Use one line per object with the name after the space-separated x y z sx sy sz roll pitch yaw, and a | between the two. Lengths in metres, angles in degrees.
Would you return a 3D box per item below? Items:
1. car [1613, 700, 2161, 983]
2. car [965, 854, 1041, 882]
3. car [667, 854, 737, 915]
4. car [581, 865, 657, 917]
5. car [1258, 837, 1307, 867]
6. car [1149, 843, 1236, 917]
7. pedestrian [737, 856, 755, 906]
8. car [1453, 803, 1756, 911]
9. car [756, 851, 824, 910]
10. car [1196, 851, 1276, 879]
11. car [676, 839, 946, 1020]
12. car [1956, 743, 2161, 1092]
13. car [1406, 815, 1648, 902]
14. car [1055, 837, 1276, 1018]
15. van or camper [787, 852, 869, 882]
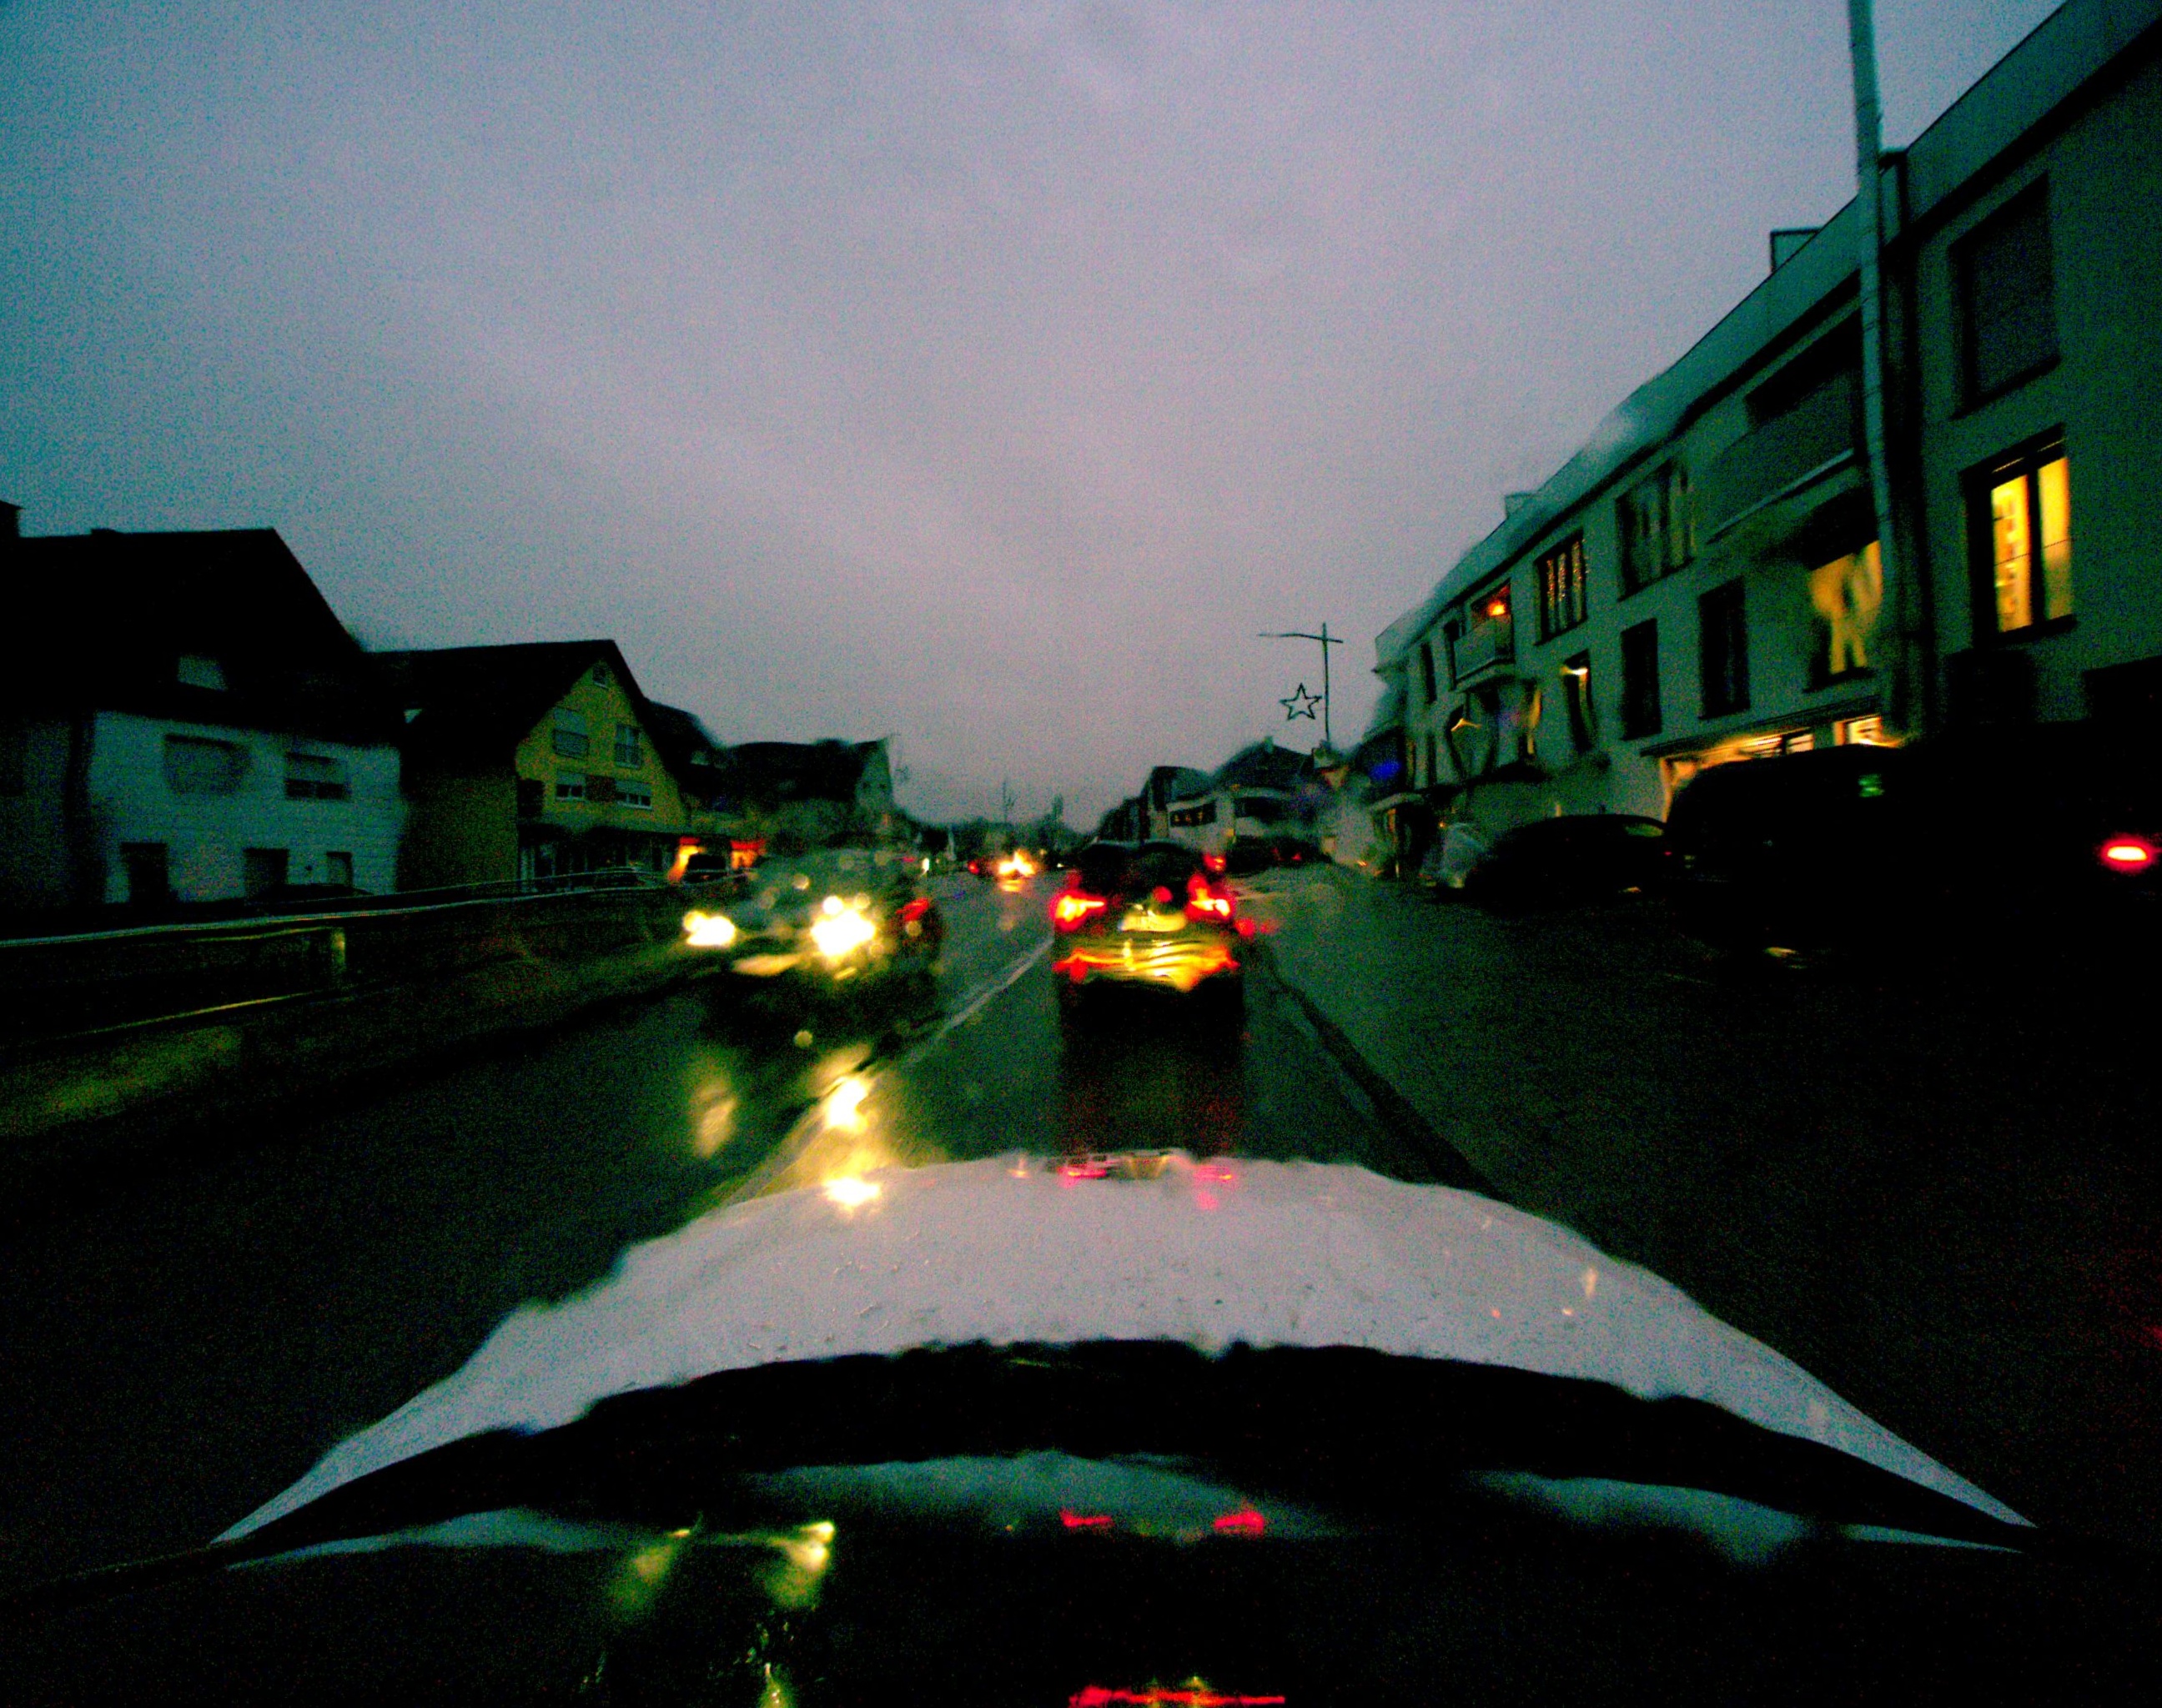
7.986 -0.161 7.608 4.546 1.920 1.951 -7 -1 2 | car
-4.559 0.818 47.268 3.948 1.418 2.013 -2 2 34 | car
-13.326 1.007 28.851 2.046 1.925 4.025 -2 0 -23 | car
-16.232 1.233 28.803 1.830 1.613 4.025 -2 0 -23 | car
14.861 -0.138 60.326 2.153 1.991 4.494 -5 0 -3 | car
2.404 0.510 18.284 1.675 1.453 4.005 -1 0 4 | car
-11.817 0.933 28.697 0.498 1.701 0.707 -3 0 -23 | pedestrian
9.122 0.051 14.429 4.195 1.460 1.791 -4 -1 -3 | car
-10.694 0.929 29.764 2.046 1.925 4.025 -2 0 -23 | car
8.724 0.629 45.797 3.998 1.479 1.987 1 -2 -18 | car
-2.886 0.706 9.698 1.731 1.653 4.001 -2 0 1 | car
7.253 0.049 3.955 4.169 1.638 1.801 -8 0 -5 | car
9.483 0.101 17.540 4.195 1.460 1.791 -4 -1 -3 | car
0.907 0.645 9.409 1.955 1.594 4.318 0 0 4 | car
-18.469 0.961 59.480 5.487 1.954 2.009 -2 0 17 | van or camper
